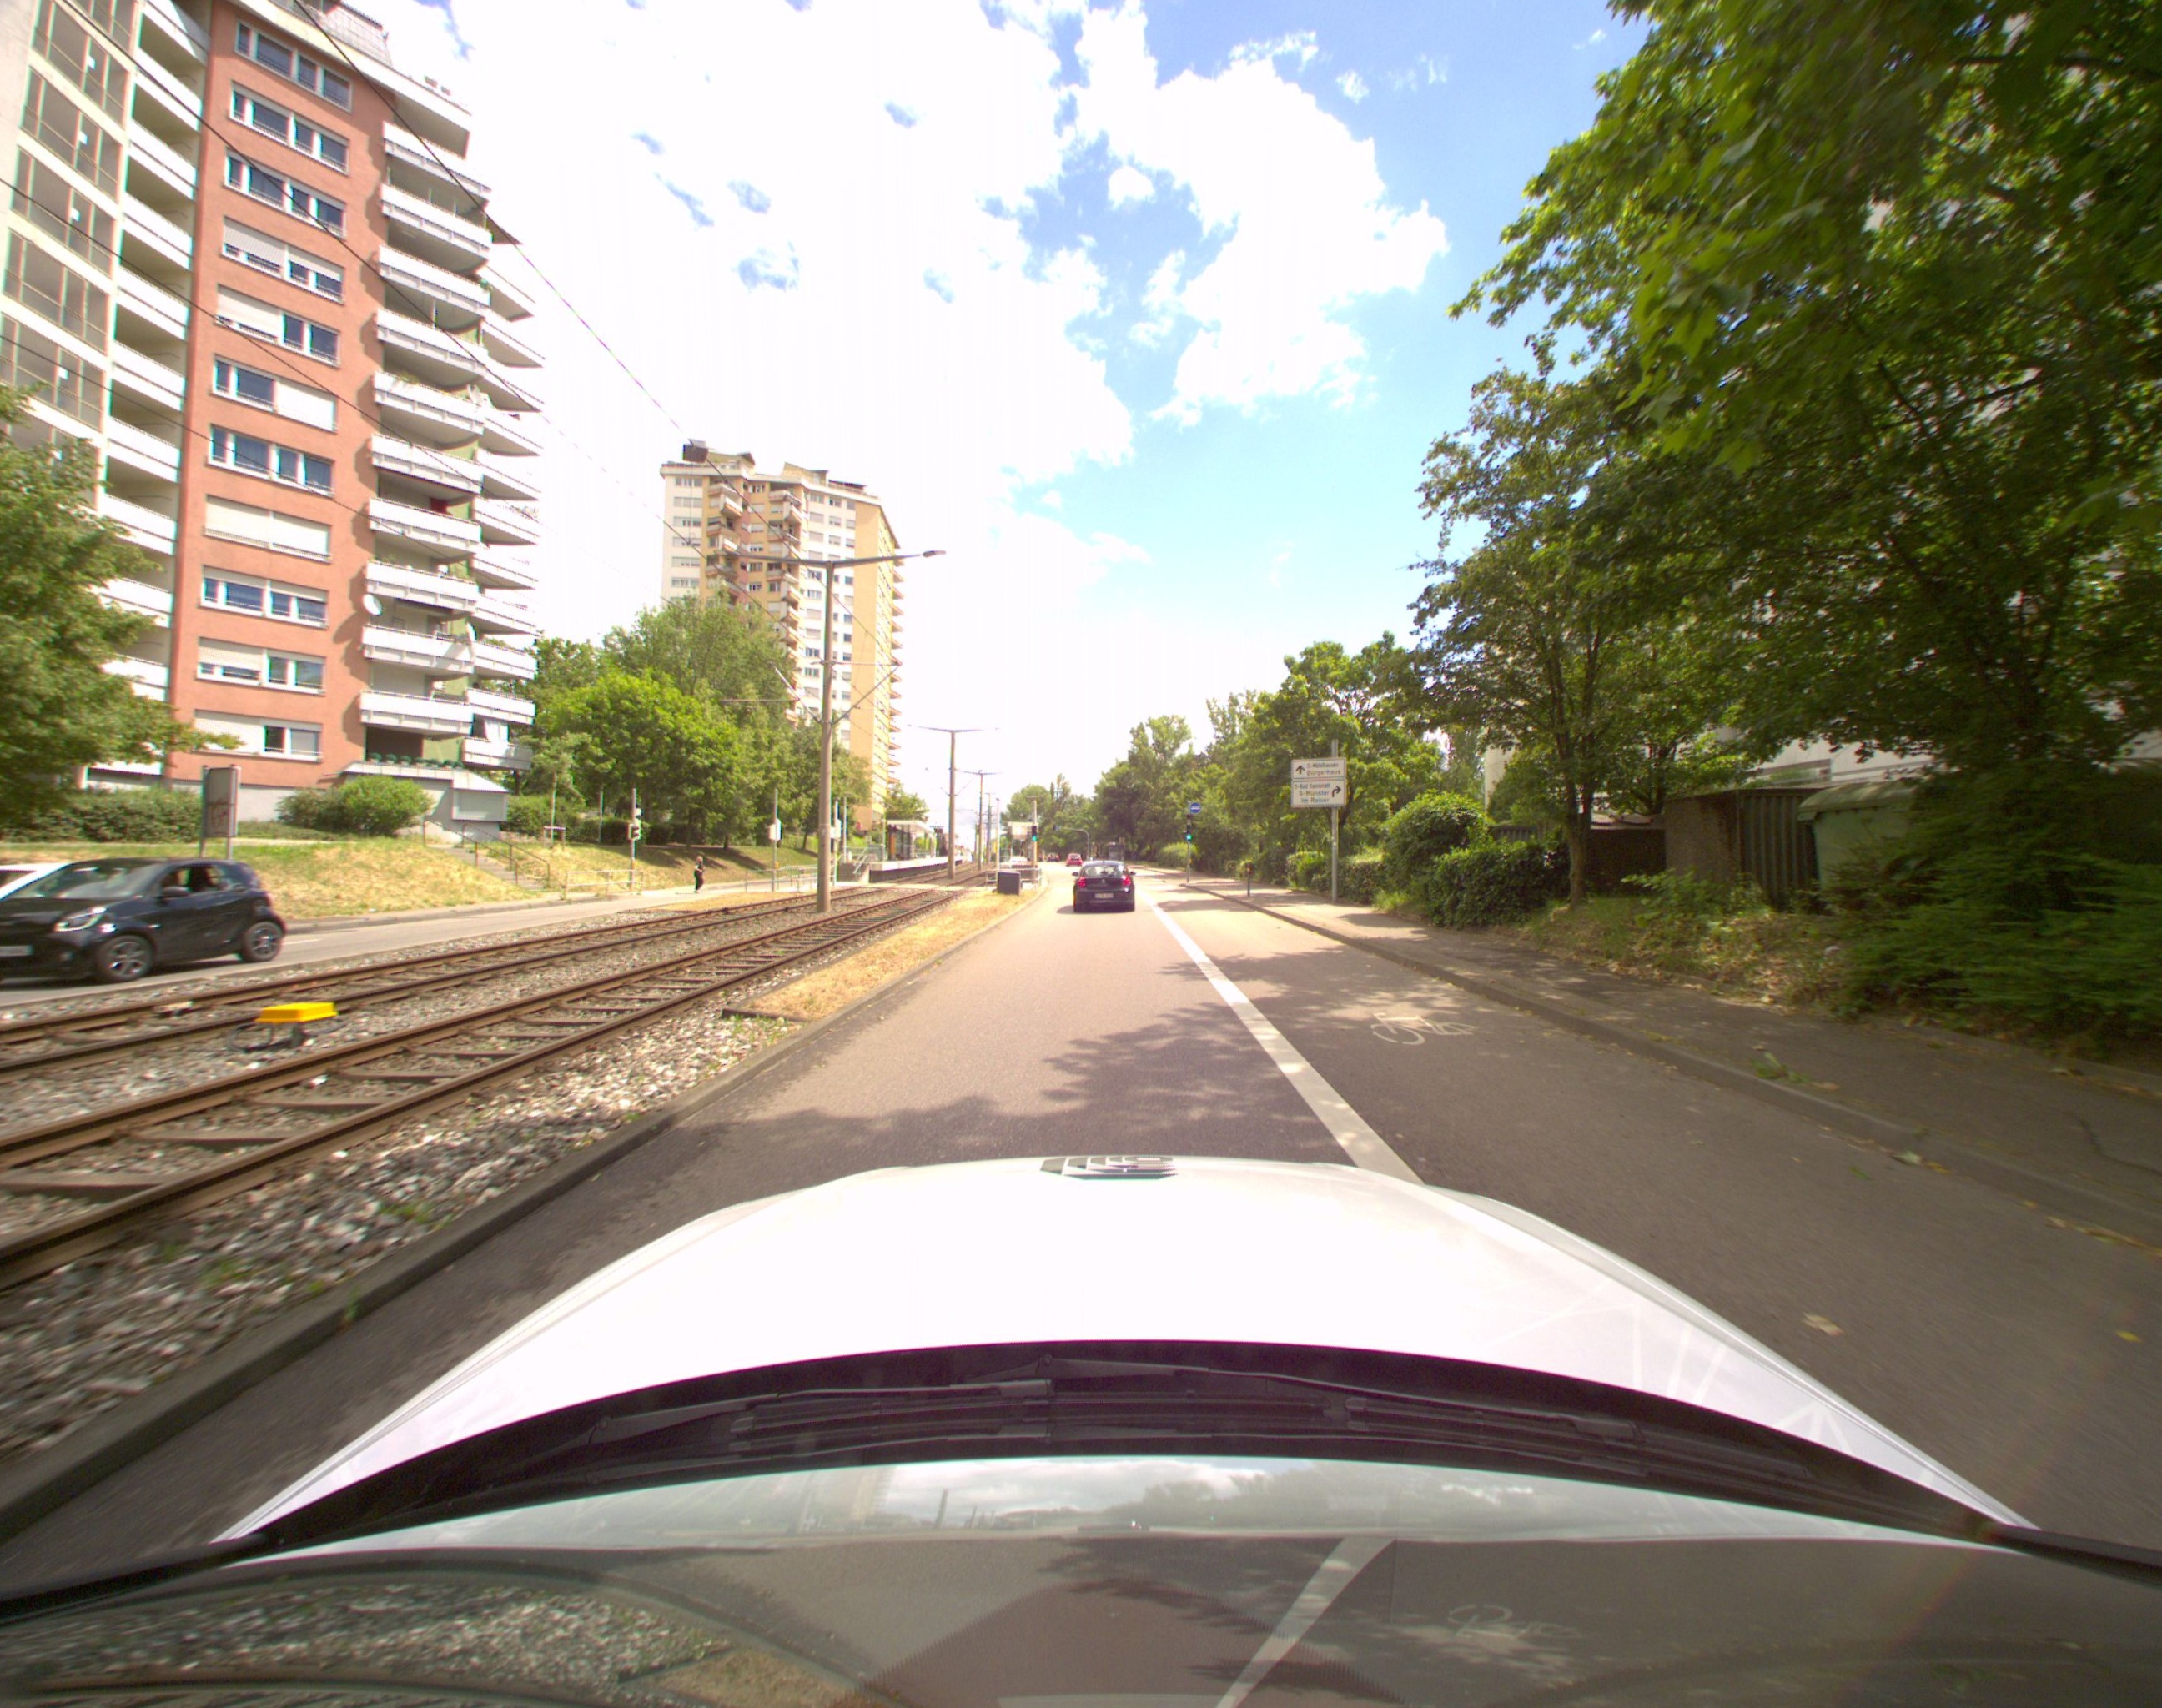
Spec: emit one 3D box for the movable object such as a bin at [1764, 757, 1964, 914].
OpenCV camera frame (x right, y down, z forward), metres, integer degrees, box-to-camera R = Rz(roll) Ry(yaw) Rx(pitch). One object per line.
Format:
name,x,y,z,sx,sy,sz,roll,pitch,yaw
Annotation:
movable object such as a bin,7.940,-0.178,8.342,0.795,1.478,1.303,0,0,1

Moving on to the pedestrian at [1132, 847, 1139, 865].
pedestrian,6.195,0.197,92.670,0.737,2.014,0.682,0,0,1

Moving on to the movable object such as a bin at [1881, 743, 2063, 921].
movable object such as a bin,7.832,-0.183,7.206,0.661,1.478,0.874,0,0,4

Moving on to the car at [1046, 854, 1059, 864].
car,-4.603,0.795,132.098,1.906,1.459,3.995,0,0,-5

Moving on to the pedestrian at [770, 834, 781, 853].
pedestrian,-25.565,-0.889,68.177,0.628,1.534,0.637,-1,0,18

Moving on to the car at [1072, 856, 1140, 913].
car,0.634,0.823,23.681,1.776,1.459,3.919,-1,0,-1

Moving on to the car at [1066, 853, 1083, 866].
car,-0.801,0.654,95.221,1.777,1.459,3.917,0,0,-3

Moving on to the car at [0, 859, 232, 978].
car,-15.020,0.868,11.496,1.778,1.532,4.238,-1,0,-4

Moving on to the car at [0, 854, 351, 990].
car,-12.496,0.786,11.188,1.712,1.564,3.693,0,0,-3

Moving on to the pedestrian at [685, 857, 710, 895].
pedestrian,-16.199,0.919,34.413,0.774,1.534,0.708,-1,0,-44
